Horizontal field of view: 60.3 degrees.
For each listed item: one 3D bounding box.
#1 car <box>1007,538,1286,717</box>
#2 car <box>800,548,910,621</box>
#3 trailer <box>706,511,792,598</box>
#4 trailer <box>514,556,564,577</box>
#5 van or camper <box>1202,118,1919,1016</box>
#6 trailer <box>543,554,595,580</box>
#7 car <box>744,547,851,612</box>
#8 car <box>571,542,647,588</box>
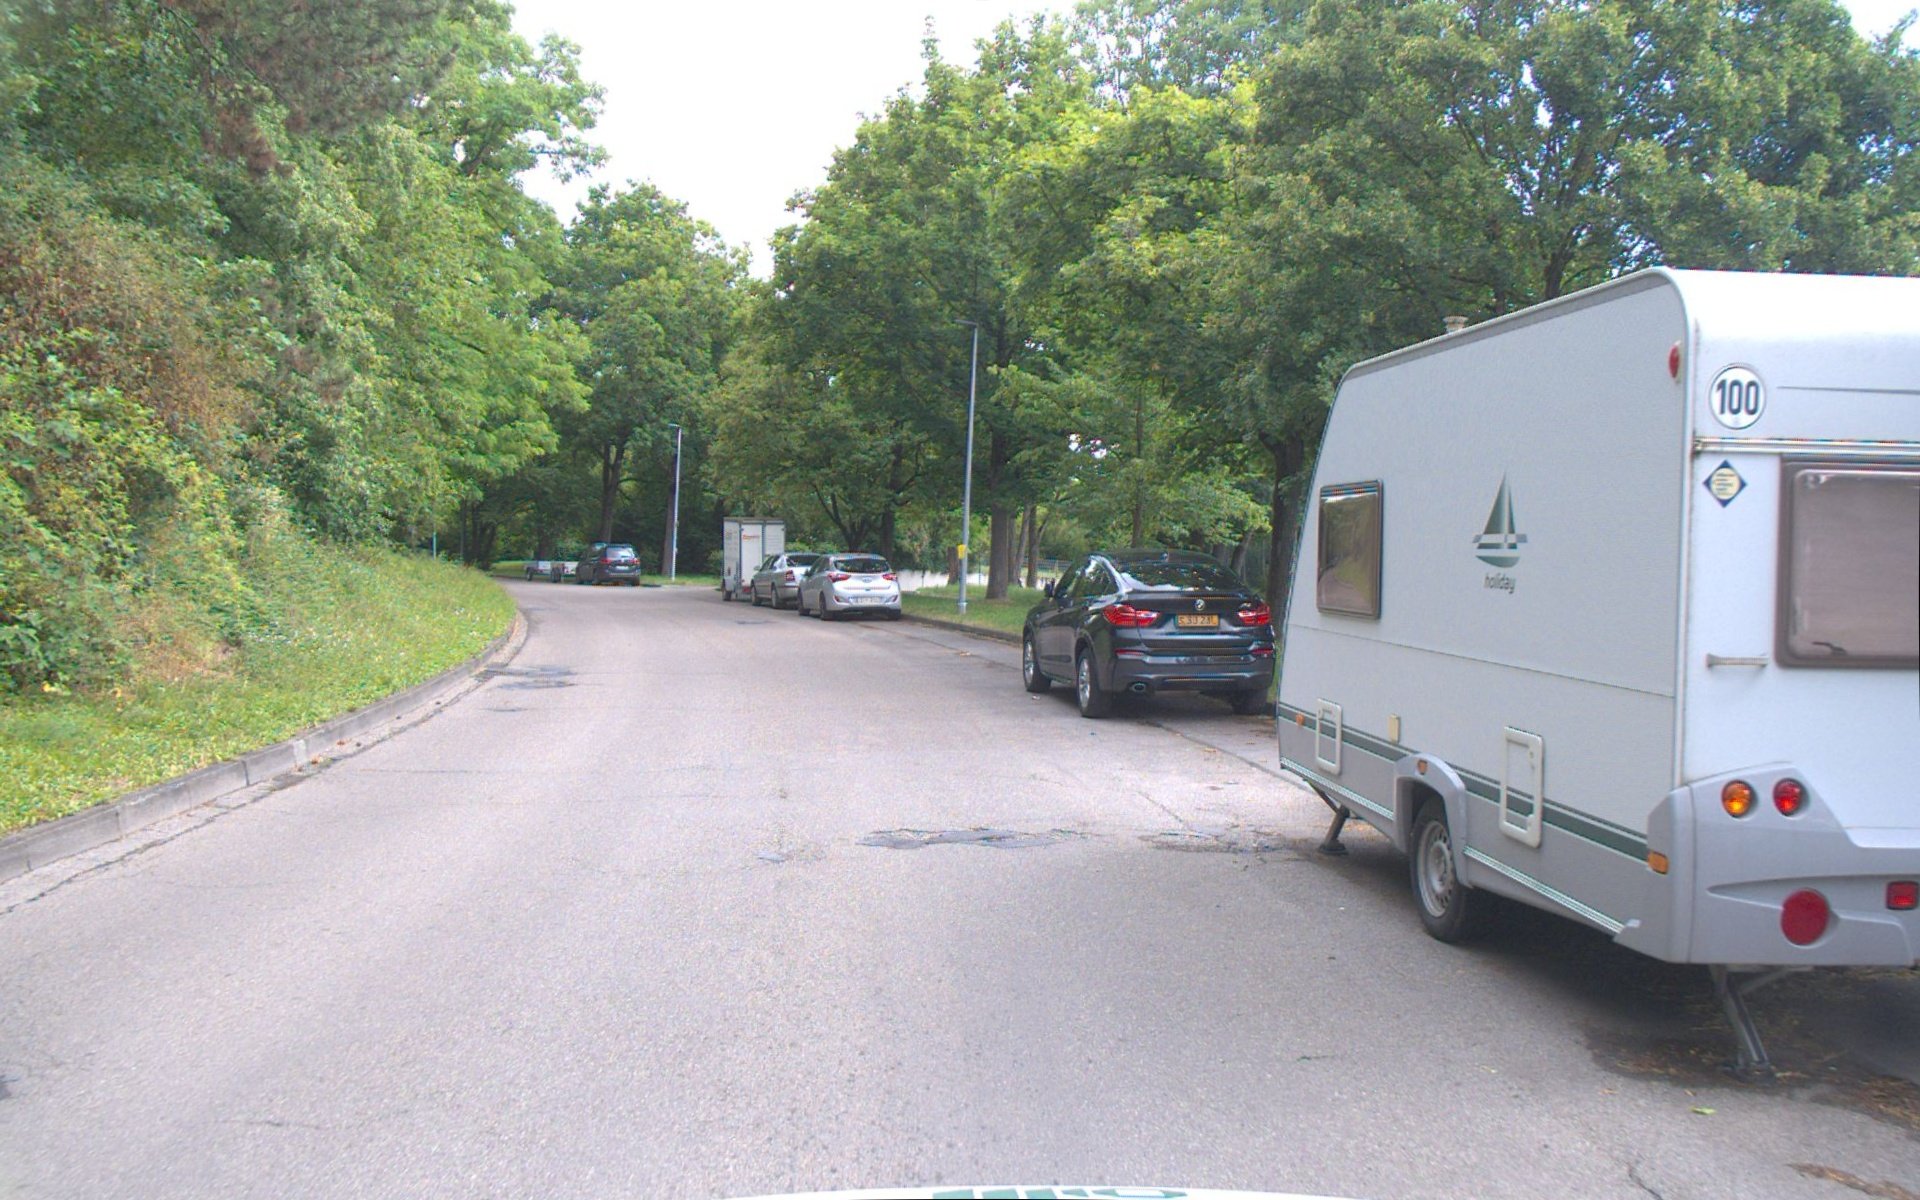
[{"bbox_3d":[1.841,0.230,17.890,1.814,1.671,4.520,0,1,-10],"label":"car"},{"bbox_3d":[-2.471,-0.384,37.907,1.869,1.502,4.047,3,1,-13],"label":"car"},{"bbox_3d":[-6.343,-1.328,49.353,1.735,2.469,3.863,0,1,-21],"label":"trailer"},{"bbox_3d":[-19.419,-1.559,76.252,1.350,0.862,3.244,2,1,-31],"label":"trailer"},{"bbox_3d":[2.910,-0.083,7.857,2.119,2.580,6.025,2,0,-5],"label":"van or camper"},{"bbox_3d":[-17.067,-1.446,72.122,1.340,0.985,3.861,2,1,-26],"label":"trailer"},{"bbox_3d":[-4.418,-0.587,44.339,1.715,1.551,4.609,2,1,-20],"label":"car"},{"bbox_3d":[-14.213,-1.439,66.783,1.755,1.691,4.797,2,1,-28],"label":"car"}]
